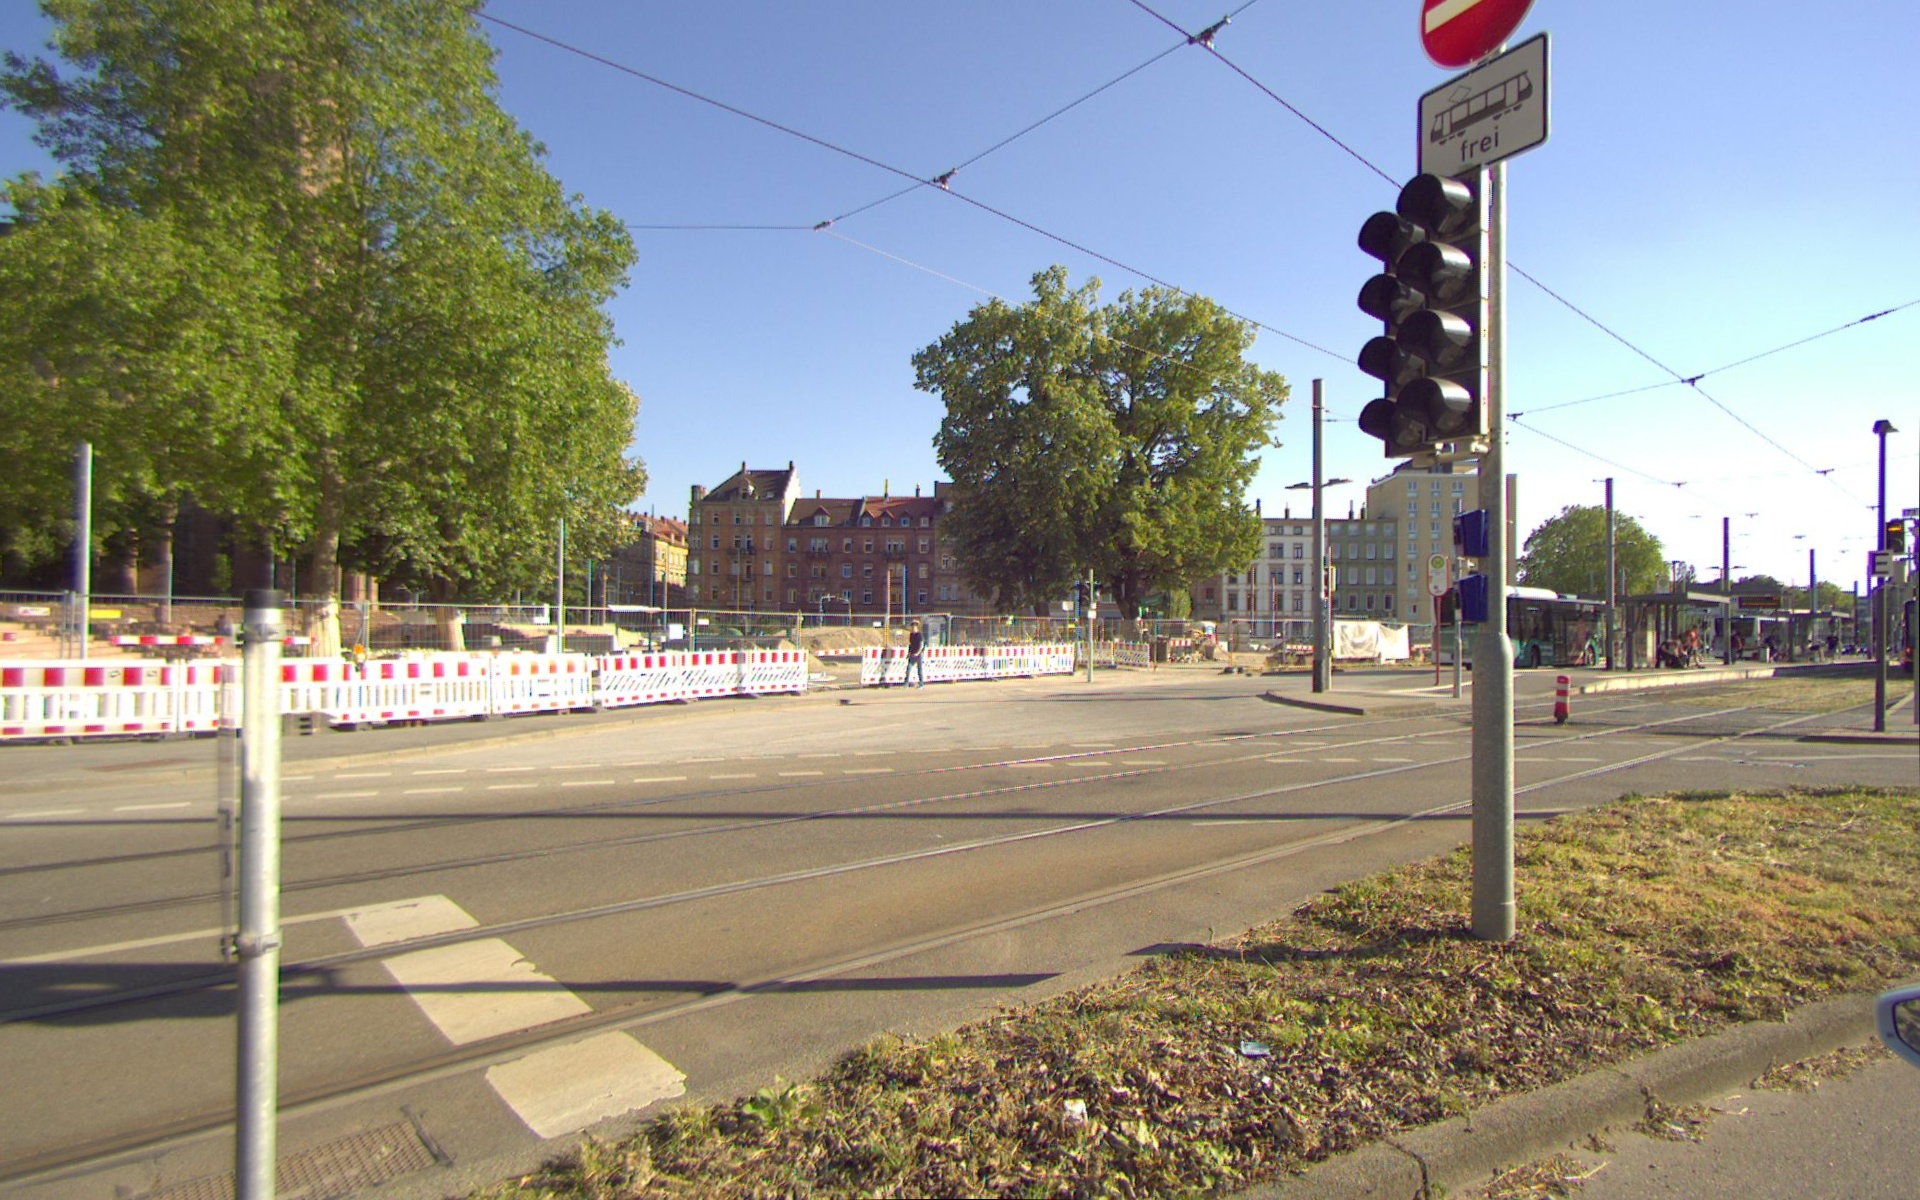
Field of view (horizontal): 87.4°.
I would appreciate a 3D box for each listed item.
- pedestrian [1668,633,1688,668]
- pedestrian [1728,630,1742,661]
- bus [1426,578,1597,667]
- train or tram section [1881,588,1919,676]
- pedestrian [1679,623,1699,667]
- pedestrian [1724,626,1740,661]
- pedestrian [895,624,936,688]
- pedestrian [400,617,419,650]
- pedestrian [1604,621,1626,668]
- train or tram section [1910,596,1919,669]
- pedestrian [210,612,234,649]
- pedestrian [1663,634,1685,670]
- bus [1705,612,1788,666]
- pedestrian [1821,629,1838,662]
[{"bbox_3d":[28.181,1.983,39.409,0.564,1.363,0.636,-1,-2,43],"label":"pedestrian"},{"bbox_3d":[44.592,2.638,57.808,0.564,1.772,0.636,-1,-2,41],"label":"pedestrian"},{"bbox_3d":[22.000,0.900,39.751,9.564,3.177,2.631,2,0,-40],"label":"bus"},{"bbox_3d":[44.754,1.491,45.829,12.108,3.644,2.855,2,0,-42],"label":"train or tram section"},{"bbox_3d":[29.560,1.811,40.729,0.564,1.772,0.636,-1,-2,43],"label":"pedestrian"},{"bbox_3d":[39.489,2.197,51.382,0.629,1.772,0.570,-1,-2,34],"label":"pedestrian"},{"bbox_3d":[-1.214,1.533,27.568,0.699,1.719,0.899,-1,-4,33],"label":"pedestrian"},{"bbox_3d":[-27.693,1.675,50.537,0.751,1.669,0.671,1,-1,-26],"label":"pedestrian"},{"bbox_3d":[25.145,1.701,38.540,0.554,1.772,0.534,2,-2,-35],"label":"pedestrian"},{"bbox_3d":[53.891,1.819,53.782,12.100,3.644,2.987,2,0,-40],"label":"train or tram section"},{"bbox_3d":[-33.531,1.394,45.643,0.665,1.669,0.635,1,-1,-18],"label":"pedestrian"},{"bbox_3d":[27.672,2.019,38.933,0.609,1.358,0.438,-1,-2,44],"label":"pedestrian"},{"bbox_3d":[53.960,2.631,68.750,13.376,3.317,2.694,2,0,-44],"label":"bus"},{"bbox_3d":[48.349,2.527,55.837,0.629,1.772,0.570,-1,-2,34],"label":"pedestrian"}]
